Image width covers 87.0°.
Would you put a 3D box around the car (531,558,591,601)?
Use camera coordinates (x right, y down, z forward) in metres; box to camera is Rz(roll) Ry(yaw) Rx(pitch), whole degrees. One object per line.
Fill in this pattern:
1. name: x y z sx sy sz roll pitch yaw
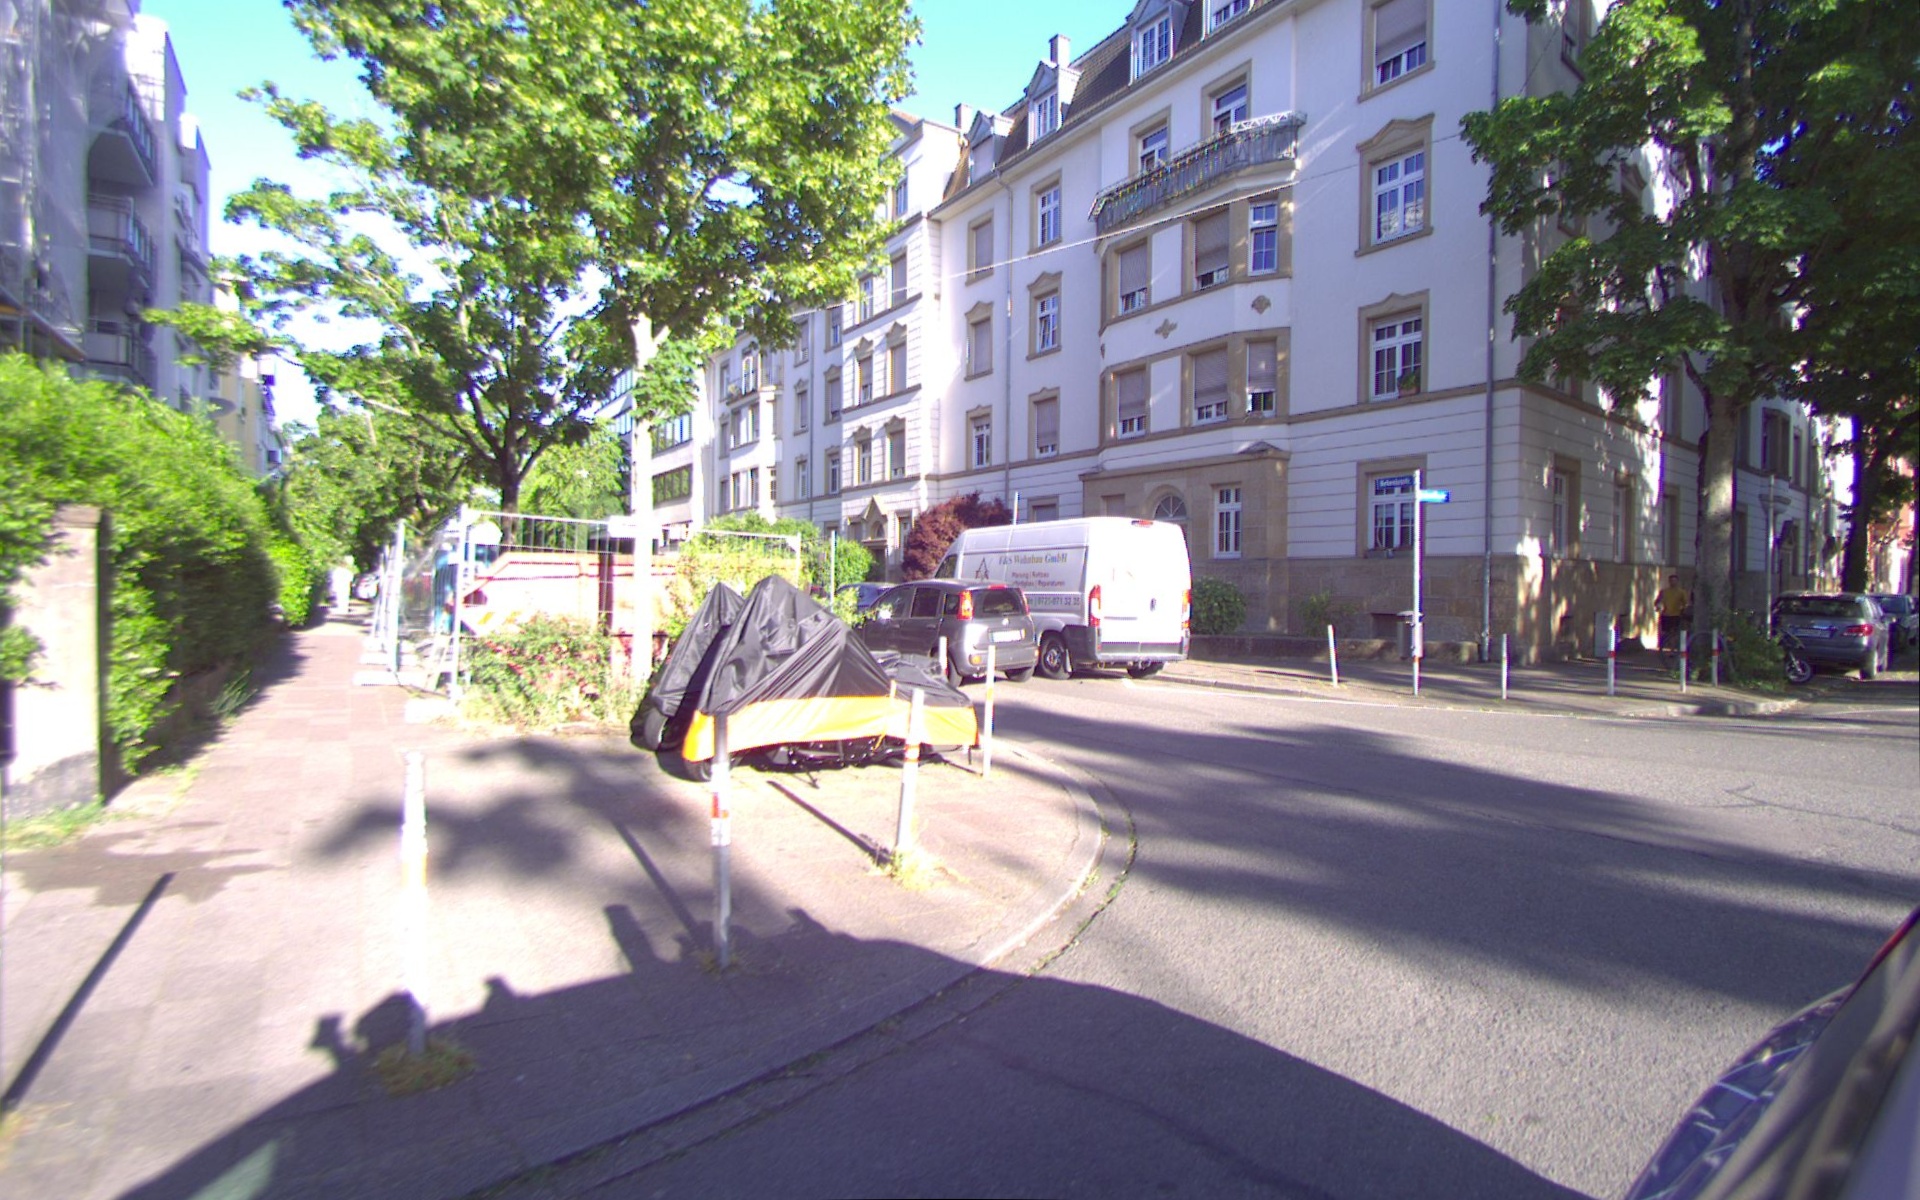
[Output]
1. car: -21.747 -1.104 55.056 2.097 2.222 5.342 -1 1 -32

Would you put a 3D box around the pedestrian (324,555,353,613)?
1. pedestrian: -22.379 -0.578 36.467 0.775 2.039 1.035 -1 -2 -27

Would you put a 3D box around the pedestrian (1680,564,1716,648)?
1. pedestrian: 15.472 0.118 21.222 0.508 1.740 0.519 0 0 -43

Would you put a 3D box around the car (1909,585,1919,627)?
1. car: 37.951 0.203 38.891 3.931 1.549 1.822 -1 1 -41

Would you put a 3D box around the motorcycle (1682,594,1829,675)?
1. motorcycle: 13.622 0.566 17.371 0.667 1.227 1.852 1 2 -44

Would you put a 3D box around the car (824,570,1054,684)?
1. car: -0.406 0.329 15.221 1.611 1.501 3.527 -1 1 -40

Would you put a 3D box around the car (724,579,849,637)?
1. car: -4.805 0.156 27.575 1.756 1.441 4.220 -1 1 -35

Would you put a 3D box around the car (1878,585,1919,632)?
1. car: 31.371 0.235 33.040 3.931 1.460 1.649 -1 1 -41

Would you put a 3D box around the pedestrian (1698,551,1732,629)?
1. pedestrian: 18.543 -0.253 24.852 0.694 1.868 0.528 0 0 -40

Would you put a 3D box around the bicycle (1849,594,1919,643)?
1. bicycle: 23.721 0.462 25.931 0.330 1.210 1.412 0 1 -43

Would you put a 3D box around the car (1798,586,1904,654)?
1. car: 20.996 0.400 23.807 1.723 1.424 3.795 2 2 44

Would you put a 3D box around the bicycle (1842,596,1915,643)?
1. bicycle: 24.385 0.507 26.876 0.330 1.210 1.412 0 1 -43

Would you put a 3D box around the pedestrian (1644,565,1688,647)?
1. pedestrian: 15.102 0.123 21.651 0.804 1.706 0.624 -1 0 -42

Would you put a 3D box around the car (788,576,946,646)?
1. car: -2.234 0.192 23.424 1.757 1.457 3.997 -1 1 -38

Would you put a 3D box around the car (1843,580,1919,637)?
1. car: 27.043 0.194 29.372 3.931 1.552 1.638 -1 1 -41

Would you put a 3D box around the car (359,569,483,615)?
1. car: -21.348 -0.315 40.146 4.104 1.668 1.999 -1 -1 -35

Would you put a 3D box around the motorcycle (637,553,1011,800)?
1. motorcycle: -0.933 0.476 7.388 2.571 1.544 0.875 0 1 -33

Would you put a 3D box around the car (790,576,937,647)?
1. car: -2.317 0.210 23.471 1.694 1.482 3.884 -1 1 -36

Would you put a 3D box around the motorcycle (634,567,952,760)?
1. motorcycle: -1.351 0.438 8.491 2.493 1.422 0.872 -1 1 -33

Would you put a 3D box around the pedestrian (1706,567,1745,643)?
1. pedestrian: 19.214 0.102 25.407 0.704 1.868 0.827 0 0 43

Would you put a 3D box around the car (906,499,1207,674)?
1. car: 1.397 -0.268 17.513 2.260 2.498 5.669 -1 1 -31

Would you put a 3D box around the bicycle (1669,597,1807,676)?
1. bicycle: 12.925 0.569 16.879 0.424 1.176 1.802 0 2 -25

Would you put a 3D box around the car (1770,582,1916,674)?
1. car: 17.222 0.457 19.682 4.064 1.559 1.683 -1 2 -43
